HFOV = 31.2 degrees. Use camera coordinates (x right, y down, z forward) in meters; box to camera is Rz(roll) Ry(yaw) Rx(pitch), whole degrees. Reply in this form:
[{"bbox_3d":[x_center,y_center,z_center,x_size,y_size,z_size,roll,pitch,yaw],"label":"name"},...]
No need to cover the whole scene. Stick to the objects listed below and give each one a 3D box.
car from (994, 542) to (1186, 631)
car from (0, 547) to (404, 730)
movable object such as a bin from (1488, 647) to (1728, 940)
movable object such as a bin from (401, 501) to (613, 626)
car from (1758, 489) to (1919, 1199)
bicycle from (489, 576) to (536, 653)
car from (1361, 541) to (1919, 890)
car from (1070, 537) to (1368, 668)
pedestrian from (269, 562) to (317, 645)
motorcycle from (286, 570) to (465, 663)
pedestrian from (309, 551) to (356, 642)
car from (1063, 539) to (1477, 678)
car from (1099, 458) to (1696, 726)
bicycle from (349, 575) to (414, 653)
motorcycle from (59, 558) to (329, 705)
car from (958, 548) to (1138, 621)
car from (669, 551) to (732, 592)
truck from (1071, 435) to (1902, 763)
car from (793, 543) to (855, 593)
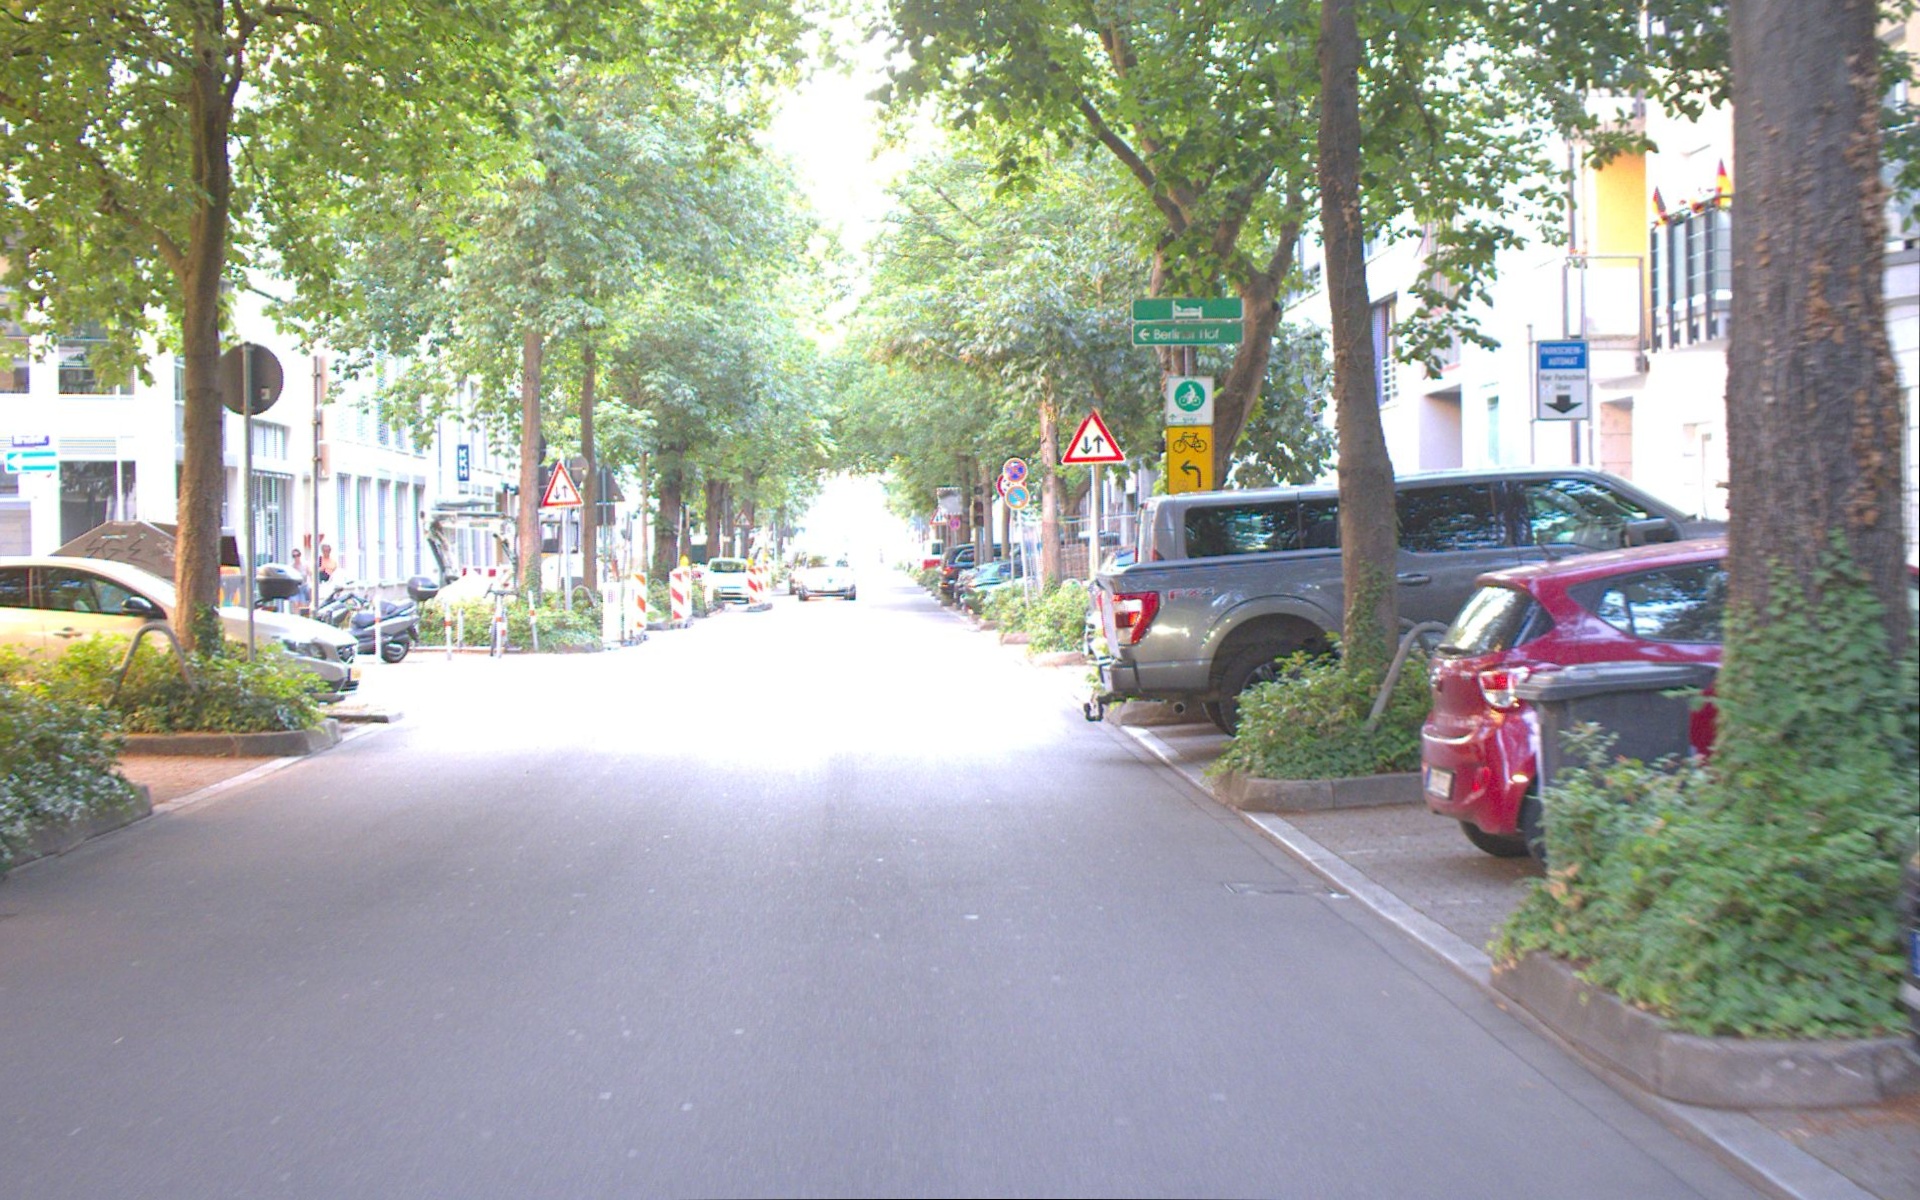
[{"bbox_3d":[2.758,-0.298,72.719,3.987,1.798,2.000,-1,1,3],"label":"car"},{"bbox_3d":[-7.391,0.315,30.276,4.619,1.547,2.075,0,1,1],"label":"car"},{"bbox_3d":[2.570,0.755,13.702,0.760,1.080,0.785,-2,1,0],"label":"movable object such as a bin"},{"bbox_3d":[-8.955,-0.749,68.203,4.045,2.375,2.785,-1,1,-7],"label":"movable object such as a bin"},{"bbox_3d":[4.459,0.400,7.863,4.641,1.612,2.010,-4,1,-5],"label":"car"},{"bbox_3d":[-7.004,0.214,53.852,0.683,1.148,1.981,-1,1,-7],"label":"bicycle"},{"bbox_3d":[3.930,0.495,16.279,3.776,1.539,1.878,0,1,-2],"label":"car"},{"bbox_3d":[3.197,0.020,42.967,3.538,1.558,1.832,-1,1,-1],"label":"car"},{"bbox_3d":[-12.503,0.062,64.435,0.769,1.530,0.643,-1,1,-1],"label":"pedestrian"},{"bbox_3d":[-8.528,0.219,50.208,2.350,1.277,1.067,-2,2,-41],"label":"motorcycle"},{"bbox_3d":[-11.731,-0.071,64.271,0.739,1.684,0.607,-1,1,0],"label":"pedestrian"},{"bbox_3d":[3.576,0.086,40.313,4.621,1.566,2.011,0,1,-2],"label":"car"},{"bbox_3d":[3.555,-0.084,28.631,4.600,2.059,2.198,-1,1,-2],"label":"car"},{"bbox_3d":[-9.038,0.207,53.795,0.683,1.148,1.981,-1,1,0],"label":"bicycle"},{"bbox_3d":[-7.581,0.304,34.102,2.453,1.415,0.911,-1,1,1],"label":"motorcycle"},{"bbox_3d":[1.958,-0.363,77.284,3.987,1.579,2.000,-1,1,1],"label":"car"},{"bbox_3d":[-8.553,-0.945,113.106,1.993,1.284,4.001,-1,1,-6],"label":"car"},{"bbox_3d":[3.838,-0.025,25.893,5.887,2.303,2.212,-1,1,-1],"label":"truck"},{"bbox_3d":[-4.533,-1.082,114.584,2.009,1.607,4.120,-1,1,-2],"label":"car"}]
